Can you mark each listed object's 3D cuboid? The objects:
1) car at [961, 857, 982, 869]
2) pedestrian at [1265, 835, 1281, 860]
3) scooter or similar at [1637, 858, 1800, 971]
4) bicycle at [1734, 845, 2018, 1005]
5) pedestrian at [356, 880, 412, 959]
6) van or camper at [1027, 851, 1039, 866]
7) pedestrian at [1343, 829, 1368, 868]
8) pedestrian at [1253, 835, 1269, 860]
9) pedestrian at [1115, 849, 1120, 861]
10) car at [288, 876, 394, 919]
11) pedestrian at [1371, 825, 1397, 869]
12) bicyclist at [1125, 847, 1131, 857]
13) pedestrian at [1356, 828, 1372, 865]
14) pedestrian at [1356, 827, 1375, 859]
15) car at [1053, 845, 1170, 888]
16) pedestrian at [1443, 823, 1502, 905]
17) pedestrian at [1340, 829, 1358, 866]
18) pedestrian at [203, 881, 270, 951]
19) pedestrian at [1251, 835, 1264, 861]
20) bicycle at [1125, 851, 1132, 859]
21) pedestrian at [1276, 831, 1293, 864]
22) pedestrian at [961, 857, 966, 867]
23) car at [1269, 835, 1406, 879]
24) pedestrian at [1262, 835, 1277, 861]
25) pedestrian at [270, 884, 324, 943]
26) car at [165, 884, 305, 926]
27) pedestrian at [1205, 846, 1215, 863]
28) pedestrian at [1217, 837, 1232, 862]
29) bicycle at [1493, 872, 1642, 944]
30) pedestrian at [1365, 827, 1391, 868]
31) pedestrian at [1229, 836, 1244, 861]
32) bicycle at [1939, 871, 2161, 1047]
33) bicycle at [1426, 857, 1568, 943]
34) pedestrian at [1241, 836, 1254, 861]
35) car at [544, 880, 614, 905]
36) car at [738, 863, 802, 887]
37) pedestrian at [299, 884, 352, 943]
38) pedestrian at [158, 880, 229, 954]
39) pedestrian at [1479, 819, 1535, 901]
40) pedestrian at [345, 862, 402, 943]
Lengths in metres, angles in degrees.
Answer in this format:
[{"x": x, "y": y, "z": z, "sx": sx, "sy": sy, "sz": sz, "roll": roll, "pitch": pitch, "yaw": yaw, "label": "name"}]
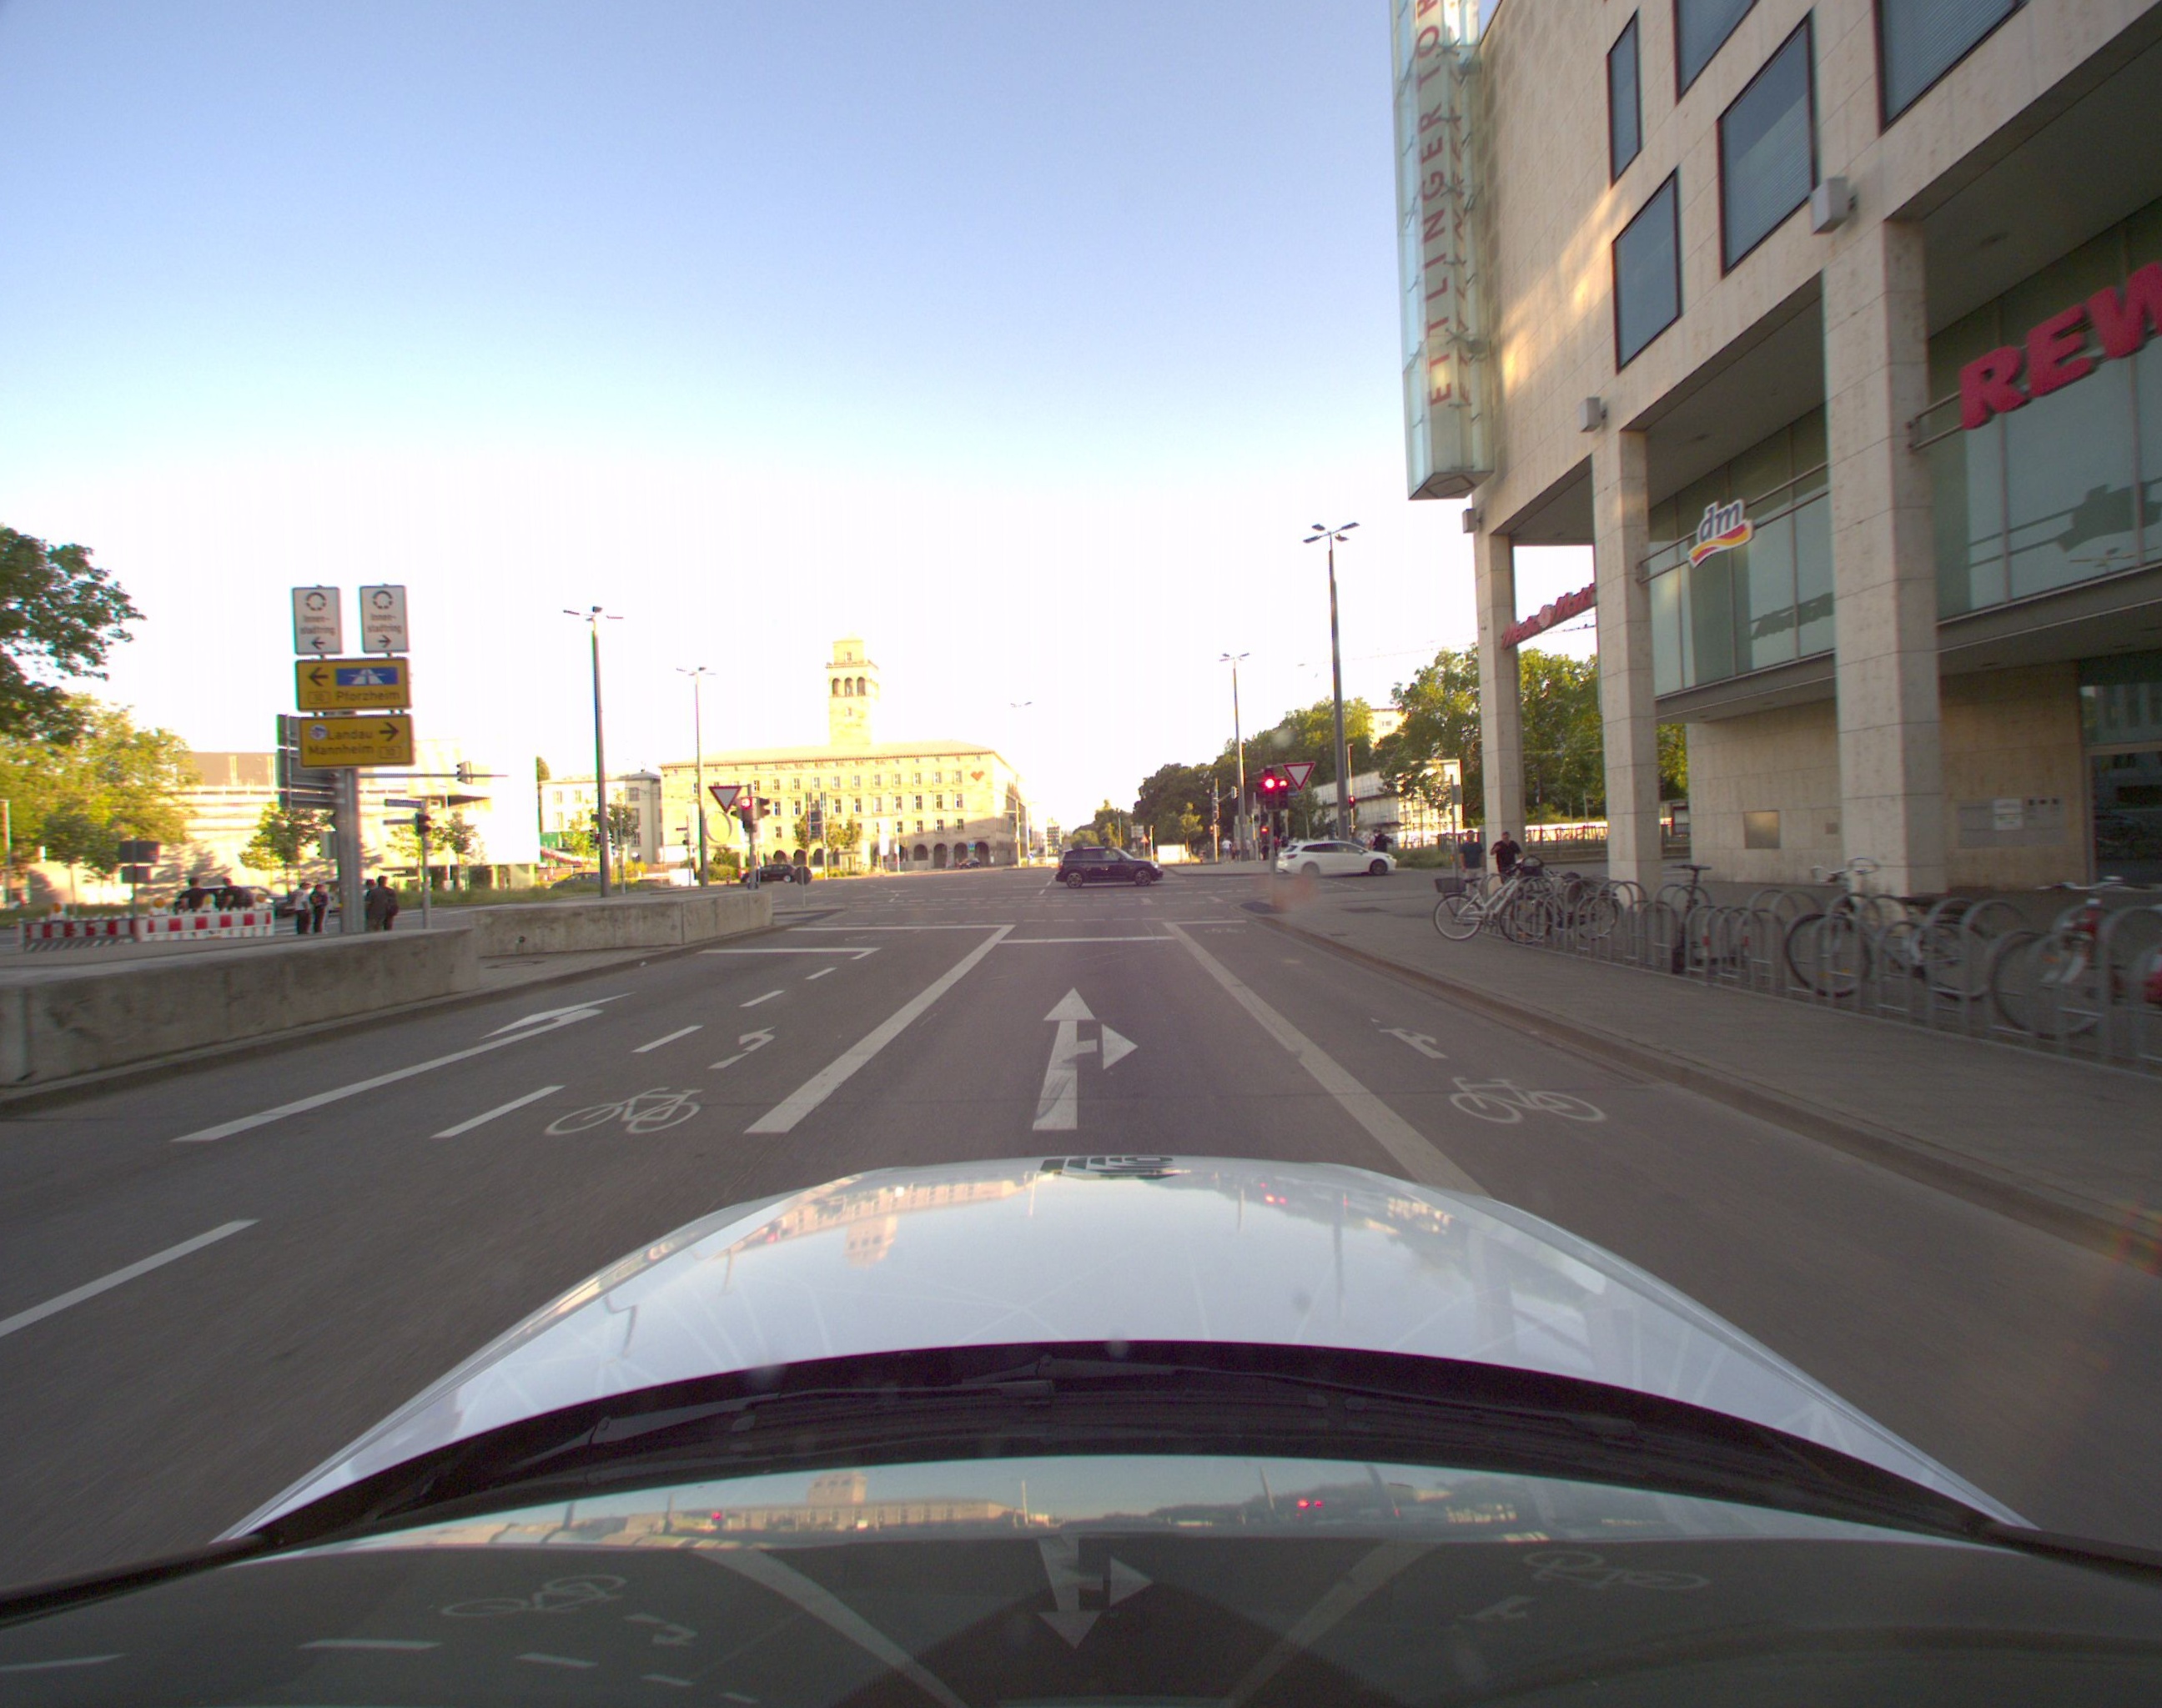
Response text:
[{"x": -16.080, "y": 1.287, "z": 119.805, "sx": 1.982, "sy": 1.662, "sz": 4.010, "roll": -2, "pitch": 0, "yaw": 9, "label": "car"}, {"x": 13.591, "y": -0.433, "z": 57.579, "sx": 0.689, "sy": 1.730, "sz": 0.804, "roll": -3, "pitch": 0, "yaw": -25, "label": "pedestrian"}, {"x": 7.073, "y": 0.651, "z": 9.079, "sx": 1.272, "sy": 1.160, "sz": 0.673, "roll": -2, "pitch": 0, "yaw": -1, "label": "scooter or similar"}, {"x": 7.079, "y": 0.602, "z": 7.309, "sx": 1.861, "sy": 1.260, "sz": 0.673, "roll": -3, "pitch": 0, "yaw": -1, "label": "bicycle"}, {"x": -16.586, "y": 1.527, "z": 19.394, "sx": 0.742, "sy": 1.777, "sz": 0.856, "roll": -2, "pitch": 0, "yaw": -24, "label": "pedestrian"}, {"x": -9.109, "y": 0.782, "z": 155.467, "sx": 1.877, "sy": 2.760, "sz": 4.932, "roll": -3, "pitch": 0, "yaw": 0, "label": "van or camper"}, {"x": 12.734, "y": -0.244, "z": 37.733, "sx": 0.889, "sy": 1.730, "sz": 0.688, "roll": -3, "pitch": 0, "yaw": 3, "label": "pedestrian"}, {"x": 12.910, "y": -0.443, "z": 58.470, "sx": 0.690, "sy": 1.730, "sz": 0.802, "roll": -3, "pitch": 0, "yaw": -32, "label": "pedestrian"}, {"x": 4.354, "y": 0.093, "z": 97.678, "sx": 0.521, "sy": 1.374, "sz": 0.687, "roll": -3, "pitch": 0, "yaw": -3, "label": "pedestrian"}, {"x": -34.085, "y": 1.978, "z": 37.594, "sx": 3.135, "sy": 1.685, "sz": 1.605, "roll": -3, "pitch": 0, "yaw": -13, "label": "car"}, {"x": 13.097, "y": -0.300, "z": 35.199, "sx": 0.887, "sy": 1.830, "sz": 0.690, "roll": -3, "pitch": 0, "yaw": 9, "label": "pedestrian"}, {"x": 5.681, "y": -0.223, "z": 98.674, "sx": 0.650, "sy": 1.223, "sz": 0.860, "roll": -3, "pitch": 0, "yaw": -3, "label": "bicyclist"}, {"x": 13.695, "y": -0.379, "z": 39.422, "sx": 0.680, "sy": 1.730, "sz": 0.900, "roll": -2, "pitch": 0, "yaw": 19, "label": "pedestrian"}, {"x": 15.715, "y": -0.628, "z": 44.966, "sx": 0.684, "sy": 1.730, "sz": 0.838, "roll": -3, "pitch": 0, "yaw": -2, "label": "pedestrian"}, {"x": 1.194, "y": 0.476, "z": 32.560, "sx": 4.446, "sy": 1.495, "sz": 2.128, "roll": -3, "pitch": 0, "yaw": 0, "label": "car"}, {"x": 8.901, "y": 0.224, "z": 18.564, "sx": 0.857, "sy": 1.776, "sz": 0.741, "roll": -5, "pitch": 0, "yaw": 1, "label": "pedestrian"}, {"x": 12.825, "y": -0.299, "z": 39.033, "sx": 0.681, "sy": 1.730, "sz": 0.899, "roll": -3, "pitch": 0, "yaw": 14, "label": "pedestrian"}, {"x": -22.726, "y": 1.652, "z": 21.927, "sx": 0.736, "sy": 1.776, "sz": 0.863, "roll": -5, "pitch": 0, "yaw": -1, "label": "pedestrian"}, {"x": 12.346, "y": -0.432, "z": 57.040, "sx": 0.802, "sy": 1.730, "sz": 0.690, "roll": -3, "pitch": 0, "yaw": 13, "label": "pedestrian"}, {"x": 5.716, "y": 0.149, "z": 98.694, "sx": 0.650, "sy": 0.970, "sz": 1.483, "roll": -3, "pitch": 0, "yaw": -3, "label": "bicycle"}, {"x": 10.998, "y": -0.338, "z": 43.924, "sx": 0.689, "sy": 1.730, "sz": 0.742, "roll": -3, "pitch": 0, "yaw": 2, "label": "pedestrian"}, {"x": -19.188, "y": 1.296, "z": 132.971, "sx": 0.631, "sy": 1.567, "sz": 0.775, "roll": -3, "pitch": 0, "yaw": 2, "label": "pedestrian"}, {"x": 10.212, "y": 0.097, "z": 32.682, "sx": 4.781, "sy": 1.495, "sz": 2.128, "roll": -3, "pitch": 0, "yaw": 0, "label": "car"}, {"x": 13.203, "y": -0.430, "z": 57.063, "sx": 0.806, "sy": 1.730, "sz": 0.688, "roll": -3, "pitch": 0, "yaw": -1, "label": "pedestrian"}, {"x": -25.317, "y": 1.905, "z": 26.325, "sx": 0.860, "sy": 1.776, "sz": 0.739, "roll": -5, "pitch": 0, "yaw": -7, "label": "pedestrian"}, {"x": -38.609, "y": 2.302, "z": 37.260, "sx": 4.178, "sy": 1.592, "sz": 1.692, "roll": -3, "pitch": 0, "yaw": -8, "label": "car"}, {"x": 14.088, "y": 0.043, "z": 88.801, "sx": 0.806, "sy": 1.730, "sz": 0.928, "roll": -3, "pitch": 0, "yaw": -1, "label": "pedestrian"}, {"x": 10.022, "y": -0.316, "z": 56.877, "sx": 0.806, "sy": 1.730, "sz": 0.687, "roll": -3, "pitch": 0, "yaw": -1, "label": "pedestrian"}, {"x": 7.112, "y": 0.783, "z": 11.939, "sx": 1.861, "sy": 0.936, "sz": 0.516, "roll": -3, "pitch": 0, "yaw": -1, "label": "bicycle"}, {"x": 13.687, "y": -0.303, "z": 37.505, "sx": 0.890, "sy": 1.840, "sz": 0.688, "roll": -3, "pitch": 0, "yaw": 0, "label": "pedestrian"}, {"x": 10.842, "y": -0.373, "z": 56.886, "sx": 0.806, "sy": 1.730, "sz": 0.687, "roll": -3, "pitch": 0, "yaw": -1, "label": "pedestrian"}, {"x": 7.098, "y": 0.687, "z": 5.529, "sx": 1.863, "sy": 1.113, "sz": 0.571, "roll": 0, "pitch": 0, "yaw": 3, "label": "bicycle"}, {"x": 6.251, "y": 0.691, "z": 12.329, "sx": 1.803, "sy": 1.212, "sz": 0.573, "roll": -3, "pitch": 0, "yaw": 16, "label": "bicycle"}, {"x": 11.800, "y": -0.410, "z": 57.772, "sx": 0.802, "sy": 1.730, "sz": 0.690, "roll": -3, "pitch": 0, "yaw": 13, "label": "pedestrian"}, {"x": -34.665, "y": 2.663, "z": 56.302, "sx": 3.709, "sy": 1.453, "sz": 1.543, "roll": -3, "pitch": 0, "yaw": -6, "label": "car"}, {"x": -22.138, "y": 1.498, "z": 58.106, "sx": 3.976, "sy": 1.453, "sz": 1.541, "roll": -3, "pitch": 0, "yaw": -10, "label": "car"}, {"x": -24.403, "y": 1.895, "z": 26.316, "sx": 0.860, "sy": 1.776, "sz": 0.739, "roll": -5, "pitch": 0, "yaw": -8, "label": "pedestrian"}, {"x": -22.843, "y": 1.605, "z": 20.979, "sx": 0.736, "sy": 1.776, "sz": 0.863, "roll": -5, "pitch": 0, "yaw": 0, "label": "pedestrian"}, {"x": 9.704, "y": 0.139, "z": 18.558, "sx": 0.753, "sy": 1.776, "sz": 0.741, "roll": -5, "pitch": 0, "yaw": 1, "label": "pedestrian"}, {"x": -16.280, "y": 1.087, "z": 18.765, "sx": 0.742, "sy": 1.777, "sz": 0.856, "roll": -2, "pitch": 0, "yaw": -27, "label": "pedestrian"}]
